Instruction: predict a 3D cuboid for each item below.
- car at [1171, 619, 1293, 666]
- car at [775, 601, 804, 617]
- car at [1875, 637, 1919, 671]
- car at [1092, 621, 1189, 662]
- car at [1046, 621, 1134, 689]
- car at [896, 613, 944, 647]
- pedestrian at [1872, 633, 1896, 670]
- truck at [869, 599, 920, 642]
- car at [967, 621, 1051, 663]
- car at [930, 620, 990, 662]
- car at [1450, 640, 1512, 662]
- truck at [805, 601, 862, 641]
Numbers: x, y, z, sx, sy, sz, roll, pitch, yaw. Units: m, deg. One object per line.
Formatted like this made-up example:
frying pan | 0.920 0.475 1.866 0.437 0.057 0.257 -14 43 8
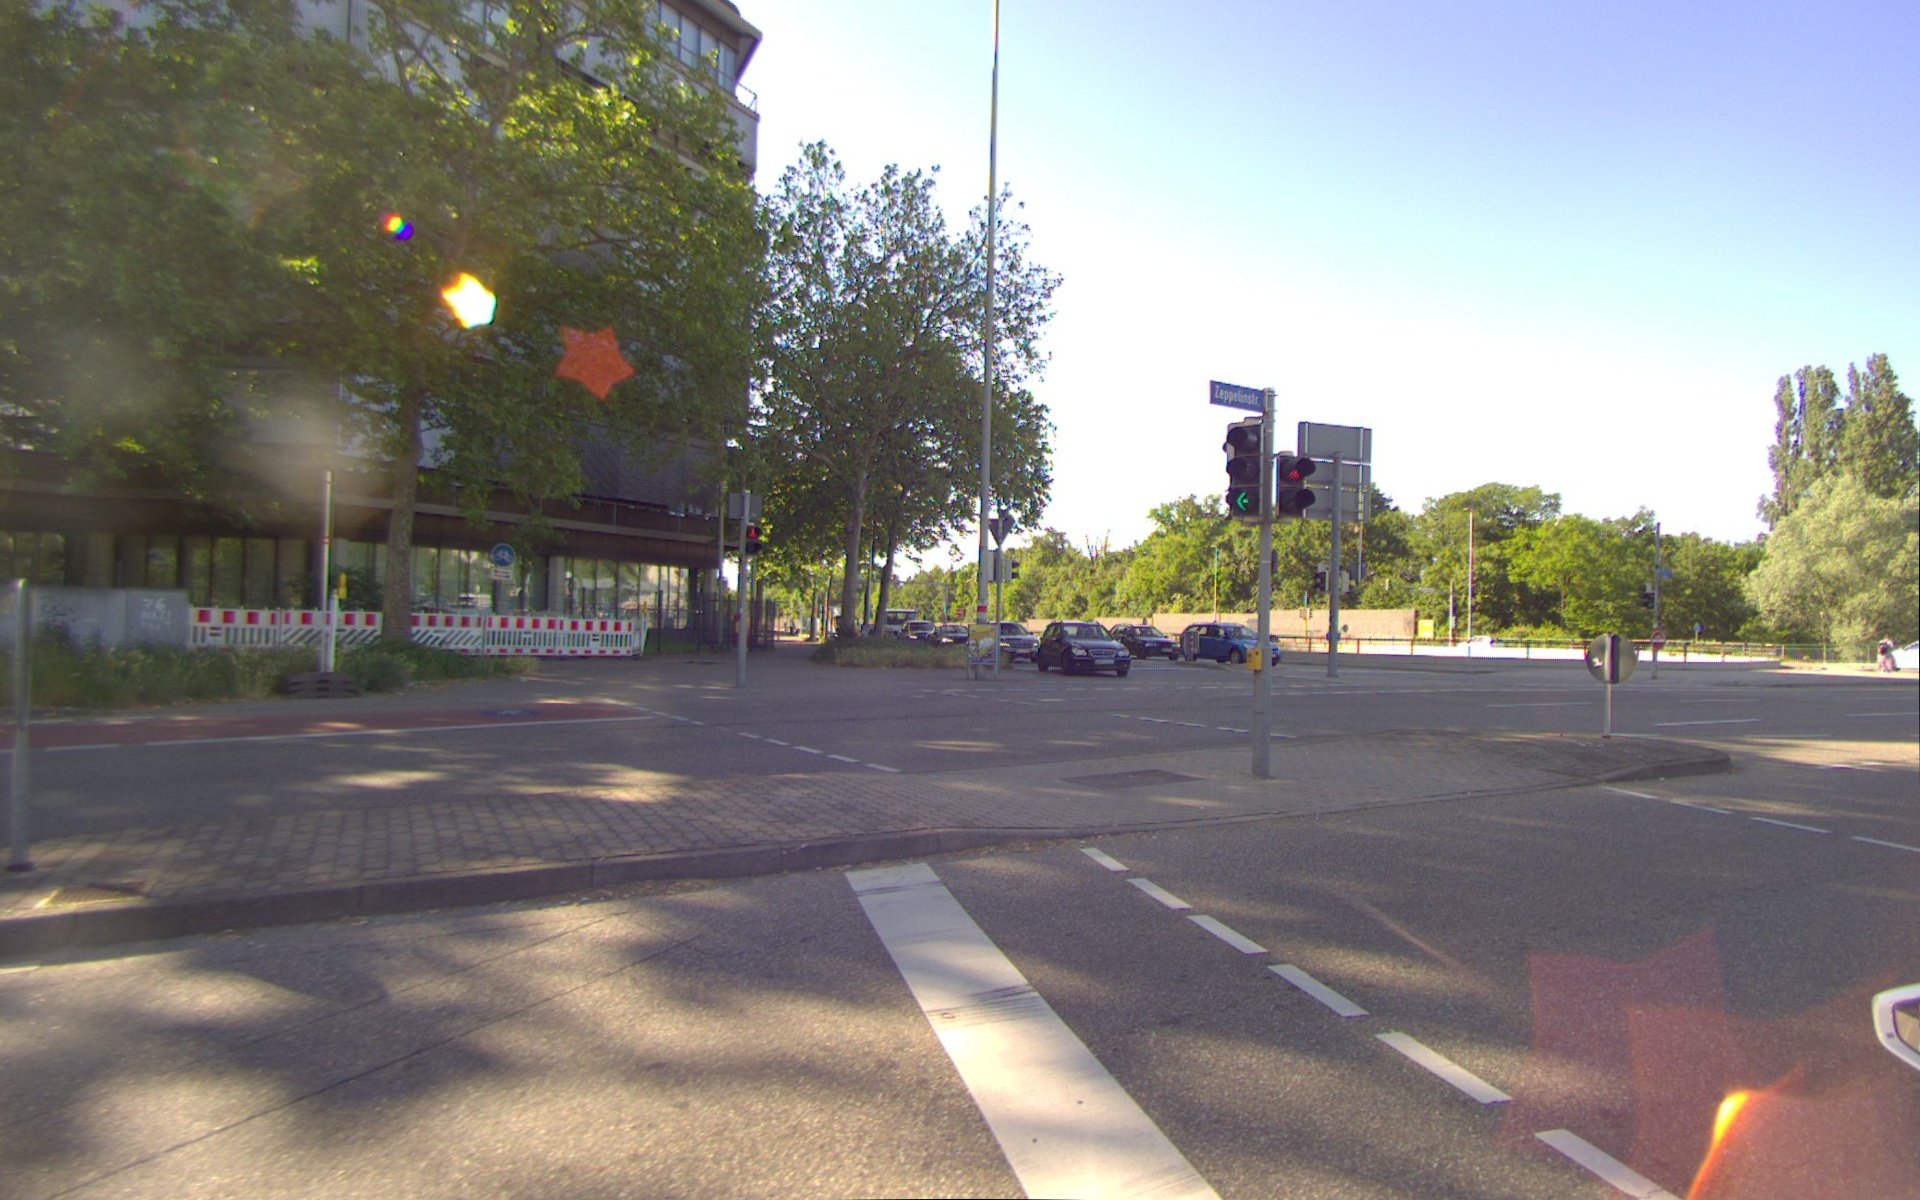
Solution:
car | 9.927 1.525 37.020 1.926 1.561 4.429 2 -1 -26
car | -19.757 1.028 116.217 1.795 1.722 4.160 2 -1 -32
car | 42.180 2.369 43.588 1.750 1.433 4.321 1 -1 13
car | 7.523 1.704 42.320 1.924 1.561 4.433 2 -1 -23
car | 3.476 1.443 27.674 1.913 1.643 4.786 1 -1 2
car | -2.142 1.541 52.703 1.847 1.666 4.501 1 -1 -11
pedestrian | 37.916 2.112 41.215 0.672 1.482 0.698 1 -1 45
truck | -4.065 1.210 60.931 2.125 2.391 7.501 1 -1 -10
car | 1.711 1.491 36.761 1.849 1.376 4.496 2 -1 -14
car | -0.061 1.784 44.805 1.783 1.722 4.187 2 -1 -12
car | 39.590 3.883 76.419 1.968 1.528 3.985 1 -1 -17
truck | -13.274 2.103 104.737 3.796 3.847 9.298 1 0 -21
